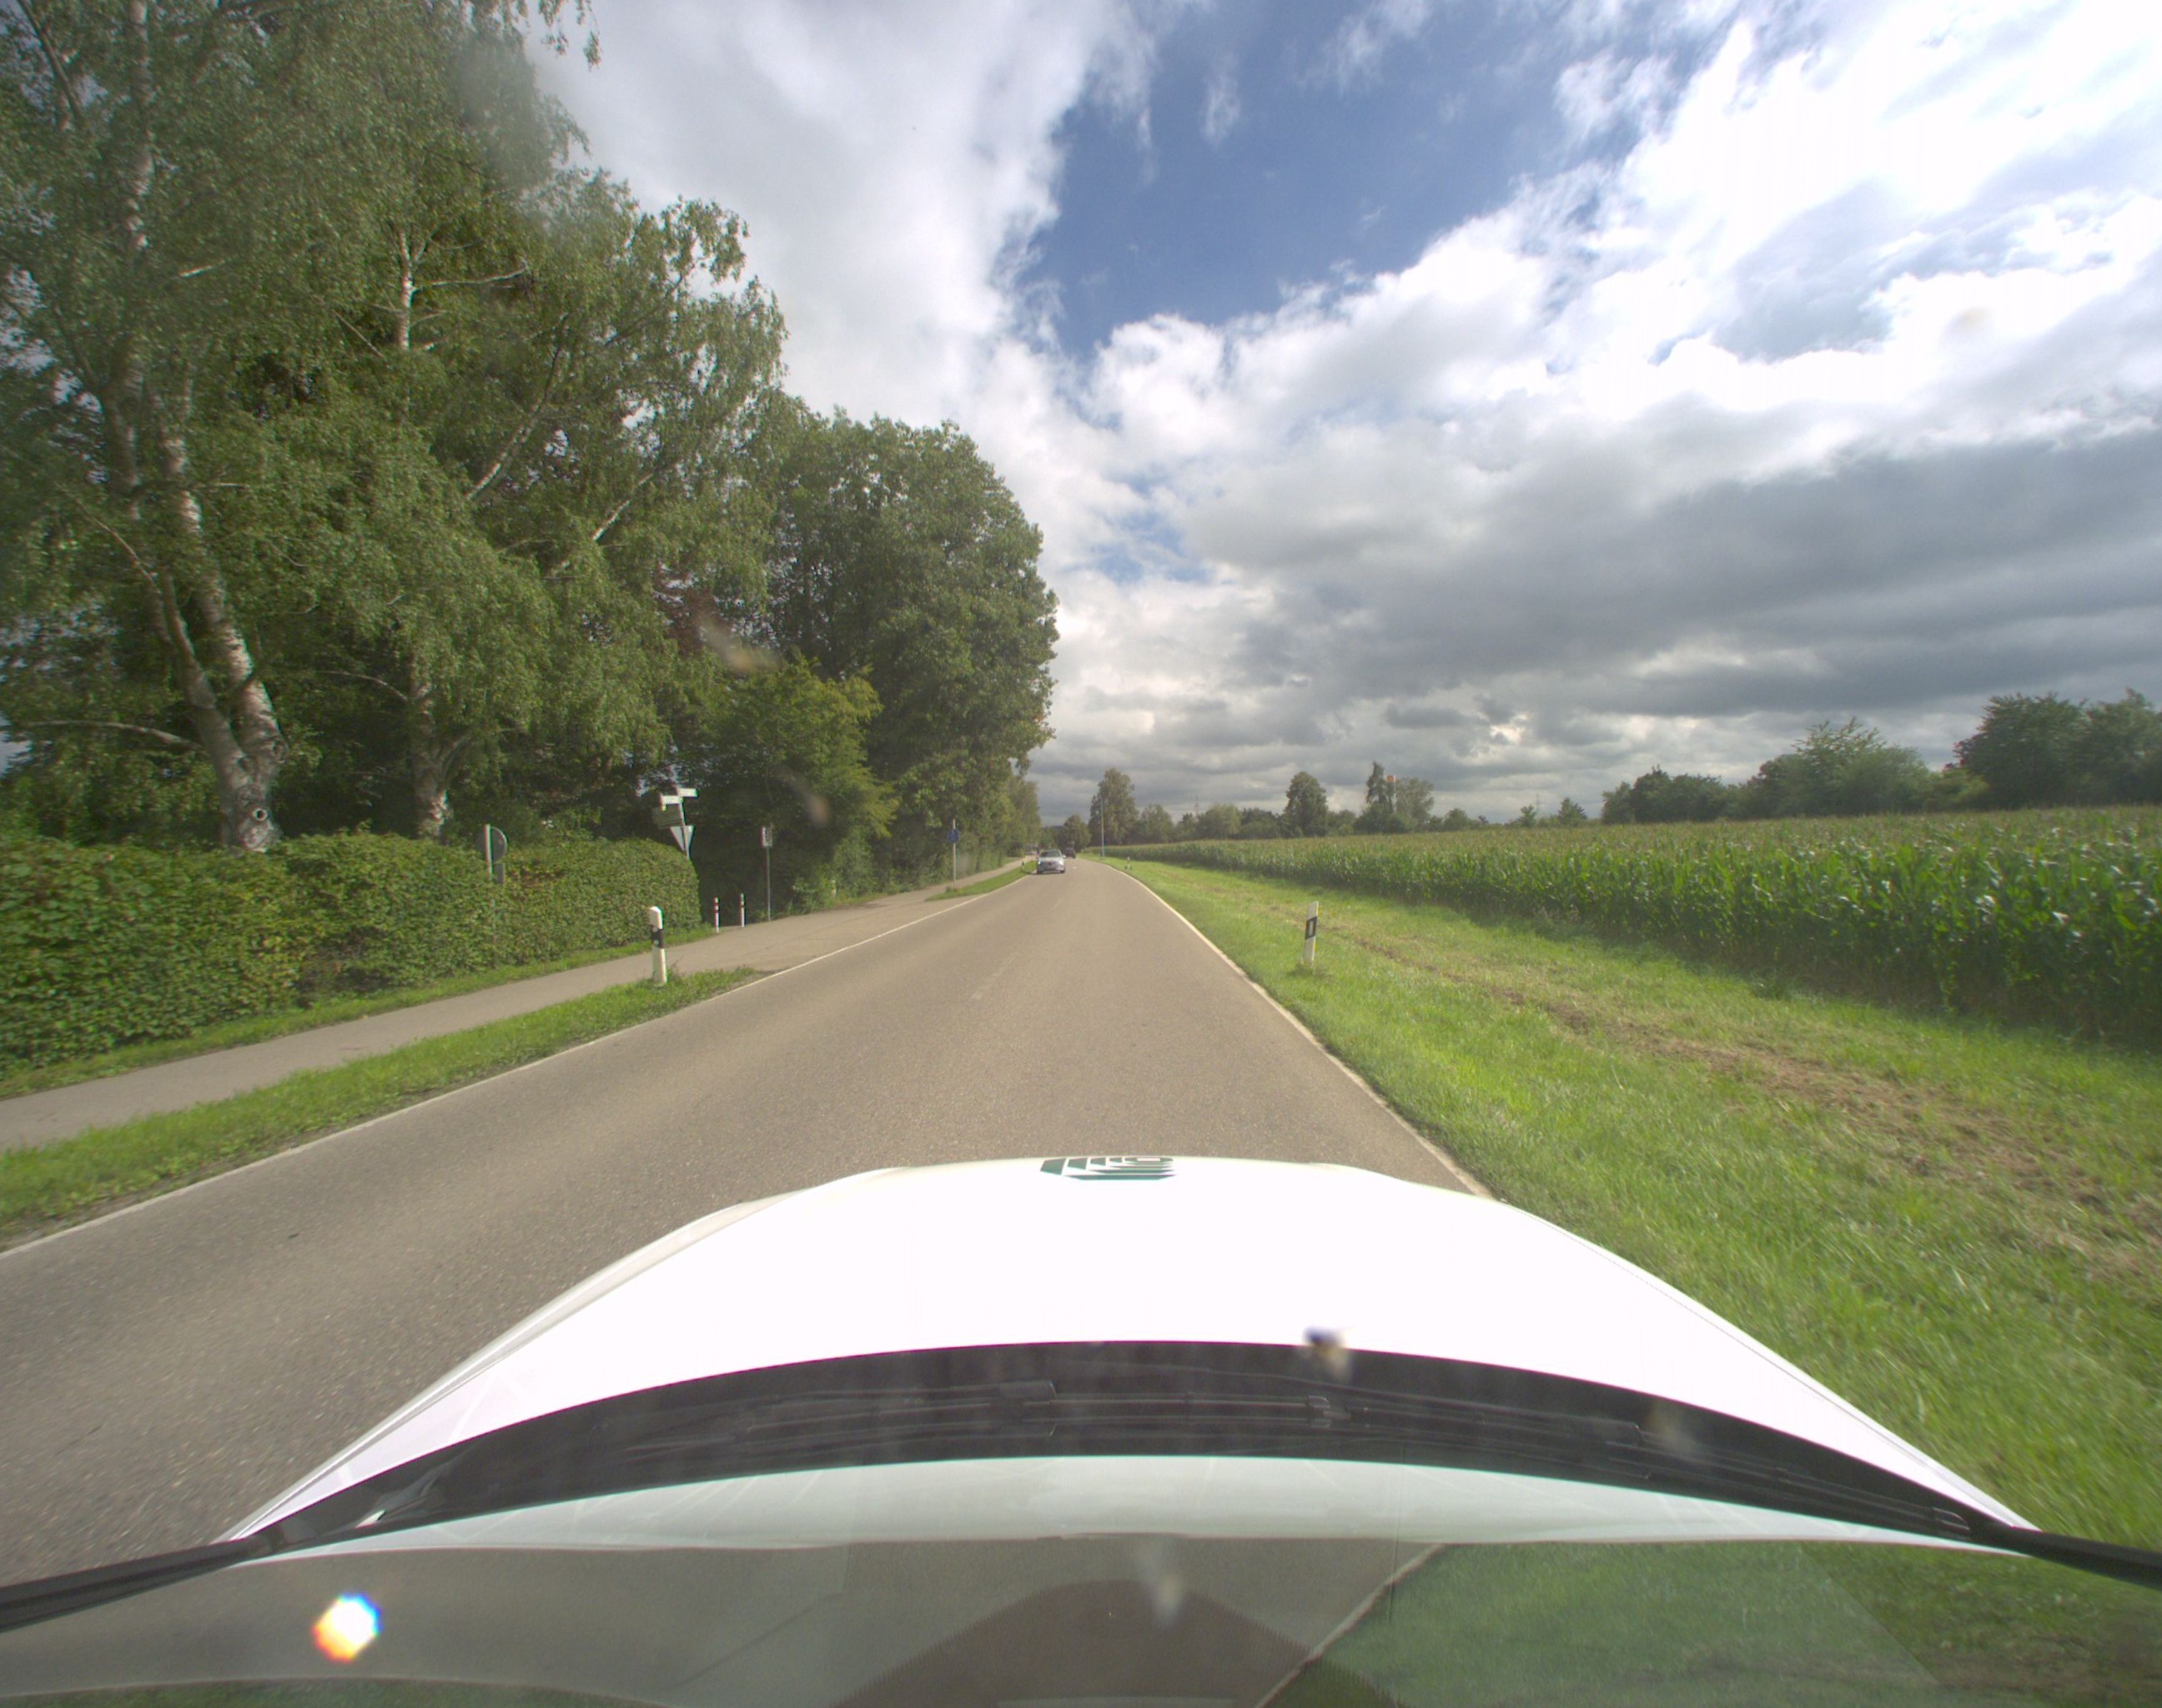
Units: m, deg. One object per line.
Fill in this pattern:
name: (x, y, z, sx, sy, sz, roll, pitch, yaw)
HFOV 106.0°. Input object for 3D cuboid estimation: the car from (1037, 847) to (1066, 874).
car: (-2.028, 0.418, 56.265, 1.805, 1.650, 4.291, -3, 0, -1)

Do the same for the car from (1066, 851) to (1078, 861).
car: (-1.442, 0.285, 132.853, 1.987, 1.585, 3.999, 1, 0, 0)

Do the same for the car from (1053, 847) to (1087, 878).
car: (-0.800, 0.588, 56.803, 1.991, 2.014, 3.991, 1, 0, -7)
